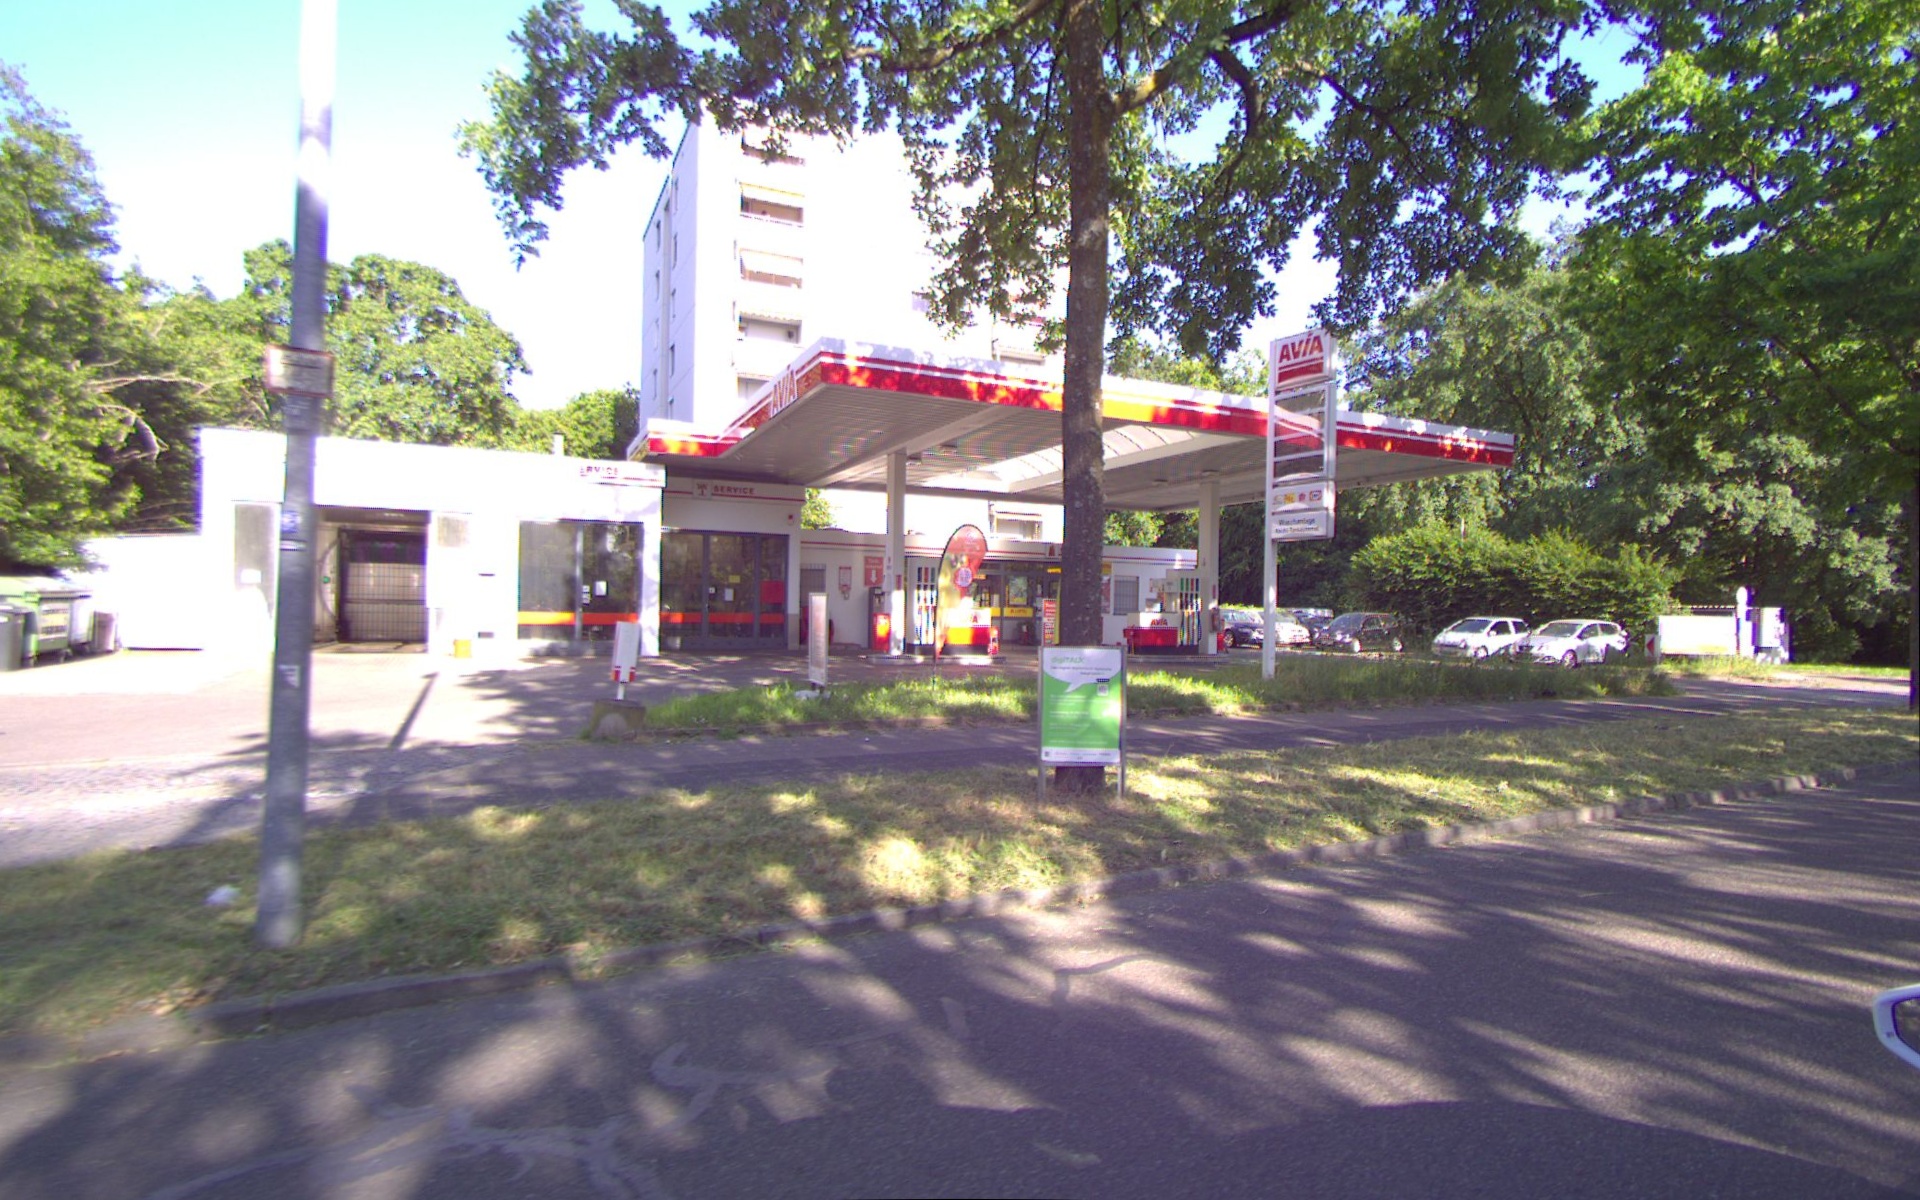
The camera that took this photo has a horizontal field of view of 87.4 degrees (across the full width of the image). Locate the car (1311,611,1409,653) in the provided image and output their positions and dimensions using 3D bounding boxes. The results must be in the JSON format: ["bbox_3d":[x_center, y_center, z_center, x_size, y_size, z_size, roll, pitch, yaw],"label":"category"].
[{"bbox_3d":[14.322,1.144,35.994,3.159,1.386,1.419,1,1,-23],"label":"car"}]

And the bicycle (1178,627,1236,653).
[{"bbox_3d":[8.073,1.303,32.841,1.751,0.818,0.617,1,0,-16],"label":"bicycle"}]

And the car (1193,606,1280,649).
[{"bbox_3d":[10.394,1.021,37.949,1.562,1.419,3.187,1,1,-22],"label":"car"}]

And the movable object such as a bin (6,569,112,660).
[{"bbox_3d":[-16.231,0.252,18.136,1.150,1.562,1.298,1,1,-30],"label":"movable object such as a bin"}]

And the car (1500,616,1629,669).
[{"bbox_3d":[18.054,1.253,29.990,3.437,1.441,1.542,1,1,-23],"label":"car"}]

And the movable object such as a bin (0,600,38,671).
[{"bbox_3d":[-15.128,0.556,15.821,0.759,1.100,0.566,1,0,-30],"label":"movable object such as a bin"}]

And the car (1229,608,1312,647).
[{"bbox_3d":[12.266,1.072,39.863,1.438,1.335,3.187,1,1,-22],"label":"car"}]

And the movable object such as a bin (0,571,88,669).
[{"bbox_3d":[-15.530,0.322,16.731,1.253,1.562,1.298,1,0,-30],"label":"movable object such as a bin"}]

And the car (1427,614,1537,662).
[{"bbox_3d":[16.689,1.205,32.122,3.159,1.386,1.419,1,1,-23],"label":"car"}]
